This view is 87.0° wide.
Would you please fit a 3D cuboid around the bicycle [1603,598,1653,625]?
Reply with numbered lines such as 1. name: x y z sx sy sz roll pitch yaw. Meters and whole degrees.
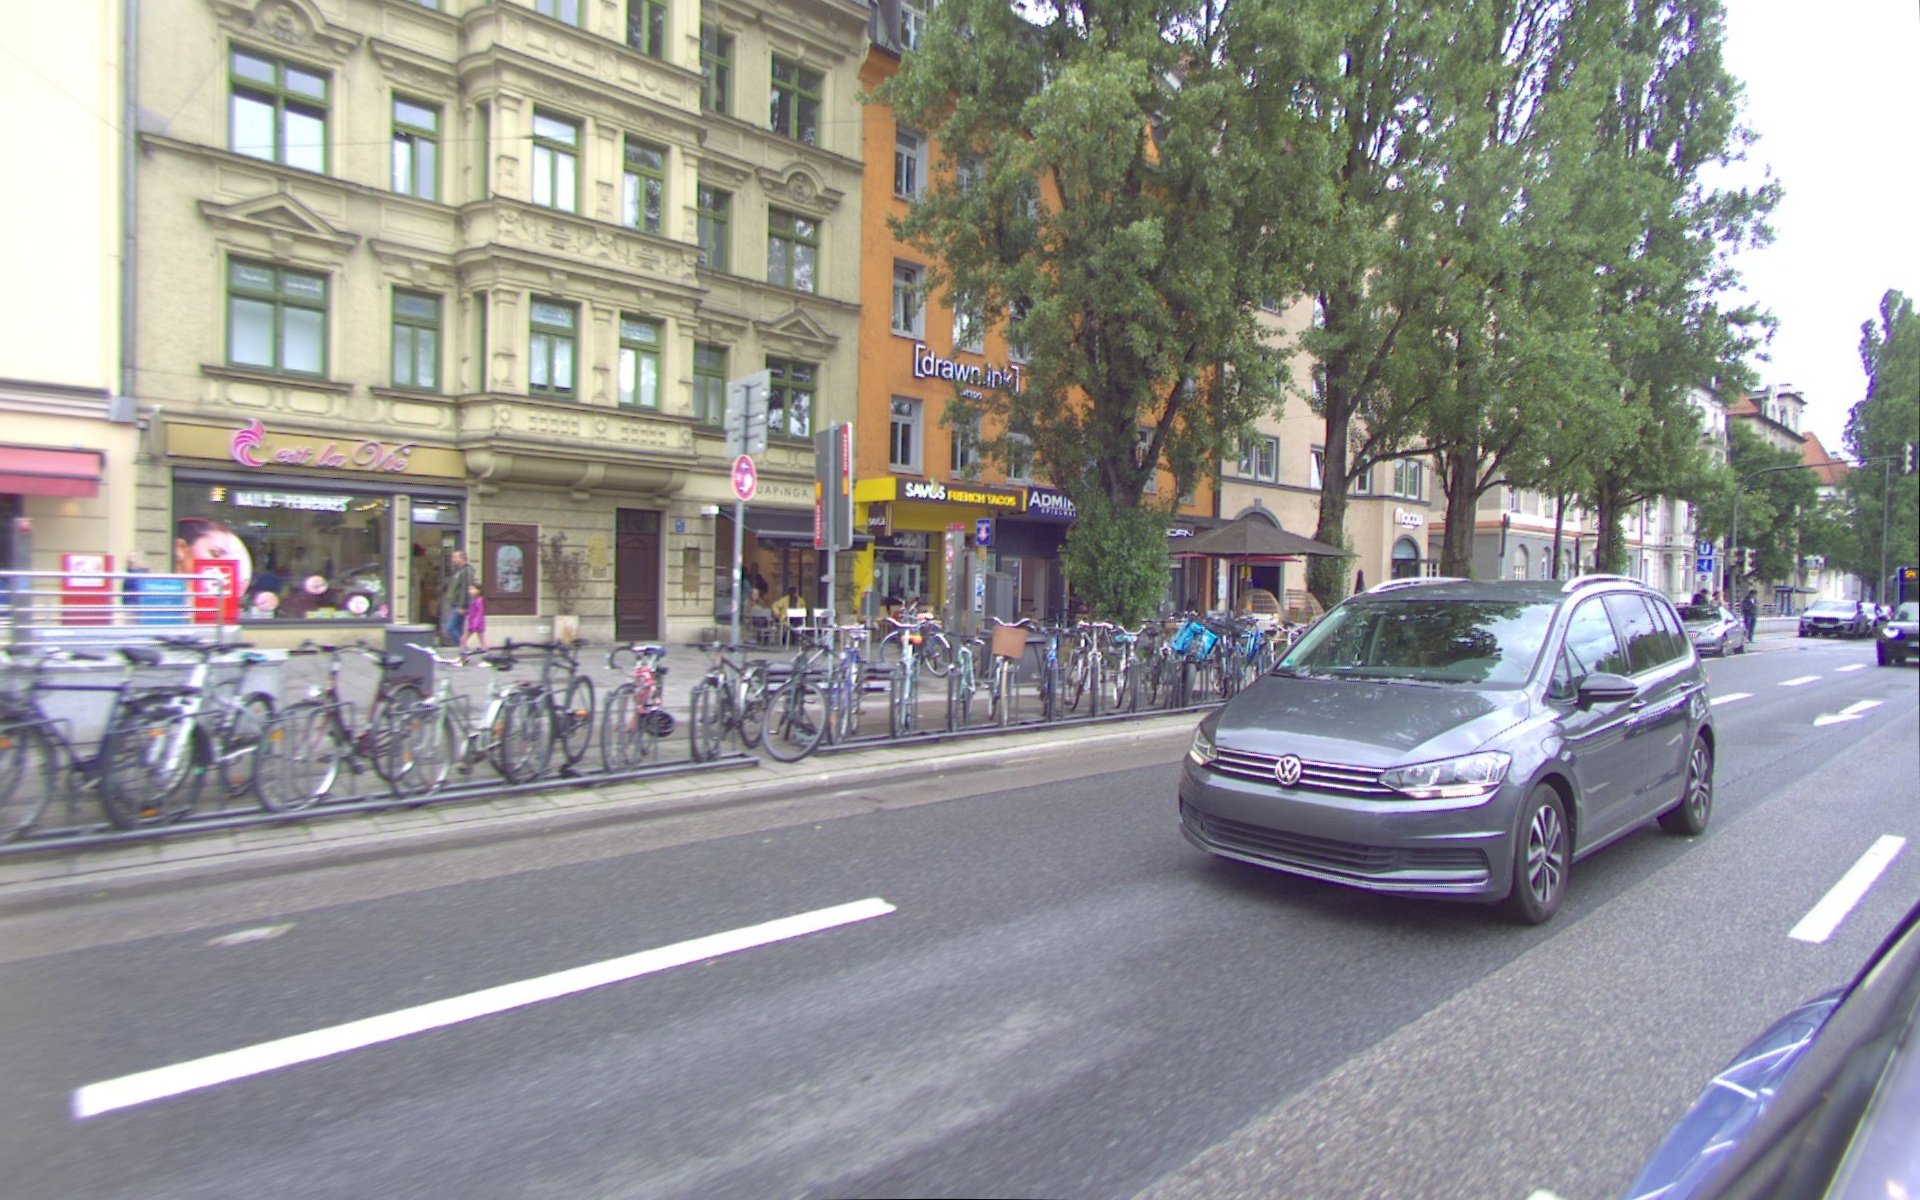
1. bicycle: 30.224 0.514 45.814 1.855 1.169 0.464 0 0 8

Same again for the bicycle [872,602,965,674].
1. bicycle: -0.688 0.588 16.226 1.723 1.059 0.381 1 -1 44

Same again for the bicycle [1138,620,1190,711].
1. bicycle: 2.513 0.775 12.580 0.319 1.008 1.841 1 0 2

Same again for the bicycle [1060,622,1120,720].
1. bicycle: 1.475 0.777 11.733 0.319 1.008 1.843 1 0 -4

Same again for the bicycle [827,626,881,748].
1. bicycle: -0.992 0.774 9.696 0.319 1.008 1.842 1 0 0

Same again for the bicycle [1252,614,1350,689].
1. bicycle: 5.024 0.739 15.031 0.367 1.008 1.846 2 0 -16

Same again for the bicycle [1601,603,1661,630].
1. bicycle: 24.784 0.601 37.405 0.385 0.928 1.838 0 0 -38

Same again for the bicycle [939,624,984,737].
1. bicycle: 0.036 0.770 10.378 0.319 1.008 1.840 1 0 4

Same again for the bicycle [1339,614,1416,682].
1. bicycle: 6.679 0.740 16.259 0.368 1.008 1.843 1 0 -3

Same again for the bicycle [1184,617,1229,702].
1. bicycle: 3.206 0.741 13.243 0.319 1.008 1.838 1 0 7

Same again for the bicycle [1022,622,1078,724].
1. bicycle: 0.987 0.778 11.393 0.319 1.008 1.843 1 0 -4

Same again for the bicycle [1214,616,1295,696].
1. bicycle: 4.043 0.740 13.999 0.318 1.008 1.845 2 0 -8

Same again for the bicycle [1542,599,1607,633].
1. bicycle: 20.399 0.531 33.637 0.439 1.124 1.801 1 -1 -38

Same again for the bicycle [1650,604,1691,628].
1. bicycle: 30.893 0.681 43.999 1.801 1.036 0.393 0 0 -14

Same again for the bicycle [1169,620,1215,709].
1. bicycle: 2.911 0.774 12.780 0.319 1.008 1.839 1 0 6

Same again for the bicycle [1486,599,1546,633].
1. bicycle: 19.229 0.545 35.031 0.439 1.123 1.802 1 0 -38

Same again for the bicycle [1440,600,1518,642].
1. bicycle: 14.483 0.567 28.297 0.450 1.067 1.890 0 1 -42

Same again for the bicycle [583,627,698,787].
1. bicycle: -2.502 0.782 8.085 0.341 1.008 1.843 1 2 -1

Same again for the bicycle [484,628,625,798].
1. bicycle: -3.012 0.783 7.676 0.341 1.008 1.843 1 2 -1

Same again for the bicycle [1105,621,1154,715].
1. bicycle: 2.016 0.776 12.175 0.319 1.008 1.841 1 0 2

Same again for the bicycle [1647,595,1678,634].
1. bicycle: 24.081 0.497 34.679 1.747 1.304 0.424 0 1 -40

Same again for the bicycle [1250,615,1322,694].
1. bicycle: 4.592 0.740 14.358 0.319 1.008 1.843 1 0 -3

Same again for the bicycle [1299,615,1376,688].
1. bicycle: 5.685 0.742 15.328 0.368 1.008 1.843 1 0 -3

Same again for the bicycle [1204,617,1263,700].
1. bicycle: 3.622 0.740 13.504 0.319 1.008 1.841 1 0 2

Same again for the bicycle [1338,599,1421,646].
1. bicycle: 10.259 0.527 24.827 0.450 1.067 1.892 0 1 -38

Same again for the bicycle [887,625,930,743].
1. bicycle: -0.492 0.772 9.979 0.319 1.008 1.842 1 0 0

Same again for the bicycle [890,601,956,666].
1. bicycle: -0.662 0.553 17.471 0.379 1.059 1.730 2 0 -29

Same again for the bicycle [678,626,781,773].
1. bicycle: -1.899 0.773 8.550 0.319 1.008 1.840 1 2 4

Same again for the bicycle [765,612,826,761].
1. bicycle: -1.458 0.711 9.099 0.457 1.126 1.845 2 1 -8

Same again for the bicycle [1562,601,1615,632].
1. bicycle: 22.786 0.587 36.715 0.385 1.063 1.575 0 0 -39

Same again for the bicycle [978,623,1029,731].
1. bicycle: 0.445 0.779 10.865 0.319 1.008 1.843 1 0 -4
